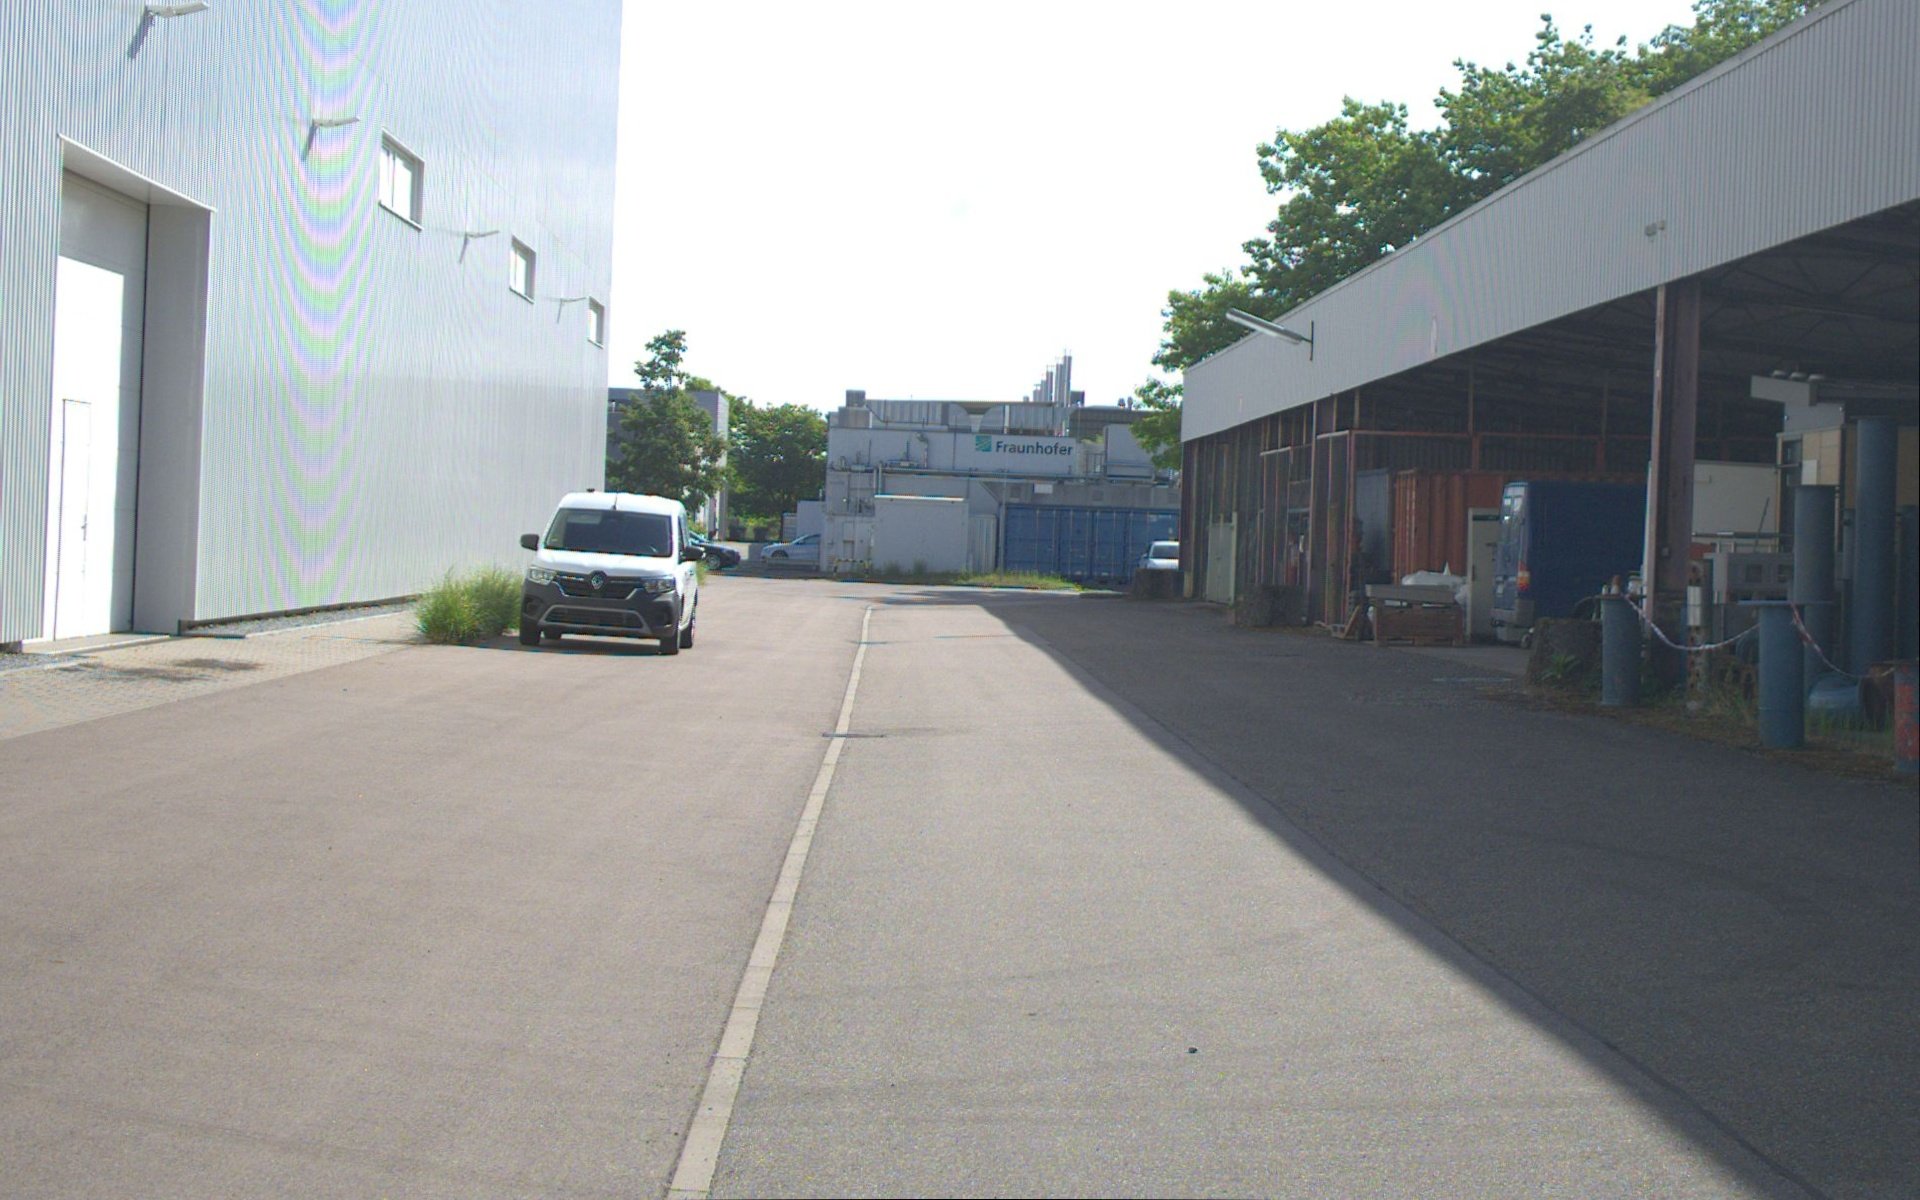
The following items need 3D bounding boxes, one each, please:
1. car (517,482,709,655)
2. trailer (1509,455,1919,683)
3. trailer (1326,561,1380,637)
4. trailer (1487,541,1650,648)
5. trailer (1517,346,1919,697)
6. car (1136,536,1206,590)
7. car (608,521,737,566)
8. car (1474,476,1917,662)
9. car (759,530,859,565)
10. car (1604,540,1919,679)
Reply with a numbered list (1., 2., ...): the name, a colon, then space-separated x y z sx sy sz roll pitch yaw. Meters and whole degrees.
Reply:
1. car: -4.006 -0.371 40.331 1.783 1.809 4.602 3 1 -1
2. trailer: 8.331 -0.329 36.899 4.516 2.334 2.047 1 1 0
3. trailer: 5.868 -0.025 51.394 0.551 1.114 1.547 1 1 -3
4. trailer: 8.526 -0.093 48.317 2.038 1.461 1.738 1 1 3
5. trailer: 10.964 -0.742 34.428 10.267 3.331 2.801 1 1 0
6. car: 6.739 -1.200 109.975 1.979 1.597 4.377 1 2 0
7. car: -10.192 -2.005 122.203 4.447 1.525 1.824 1 1 -1
8. car: 9.713 -0.412 45.714 5.332 2.273 2.153 1 0 -2
9. car: -6.563 -2.273 150.150 4.302 1.452 1.824 1 1 -1
10. car: 9.746 0.111 39.482 4.247 1.466 1.870 1 1 -4
